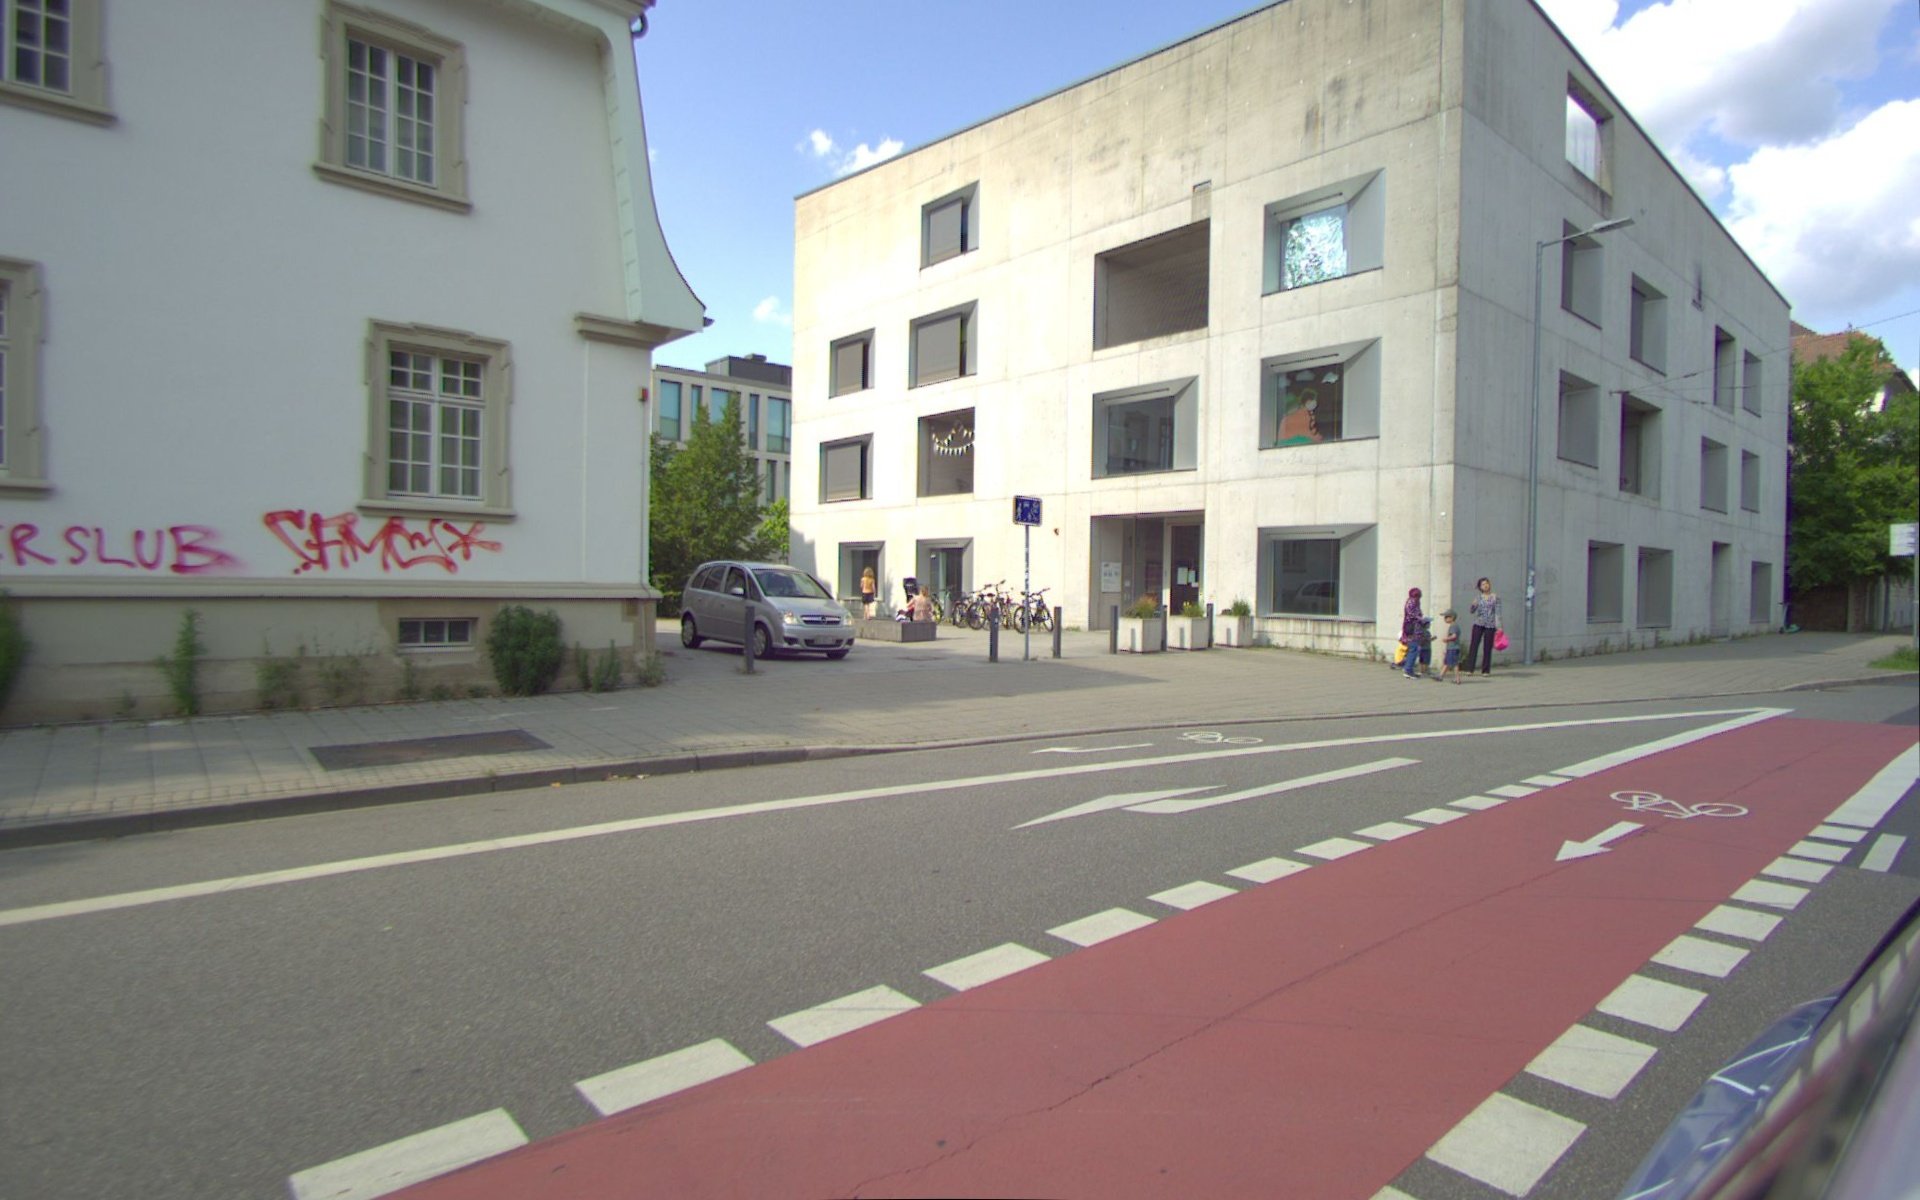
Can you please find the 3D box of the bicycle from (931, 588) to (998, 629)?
[{"bbox_3d":[0.120,0.217,26.841,0.699,1.030,1.790,3,2,45],"label":"bicycle"}]

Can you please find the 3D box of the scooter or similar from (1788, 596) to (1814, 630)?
[{"bbox_3d":[30.743,0.470,36.983,1.125,1.196,0.324,1,0,-29],"label":"scooter or similar"}]

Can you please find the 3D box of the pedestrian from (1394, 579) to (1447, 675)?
[{"bbox_3d":[7.915,0.453,17.407,0.537,1.600,0.522,3,0,-23],"label":"pedestrian"}]

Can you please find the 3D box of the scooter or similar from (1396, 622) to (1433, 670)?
[{"bbox_3d":[8.220,0.831,18.296,0.545,0.810,0.265,5,1,26],"label":"scooter or similar"}]

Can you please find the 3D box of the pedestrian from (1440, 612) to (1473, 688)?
[{"bbox_3d":[8.272,0.824,16.876,0.418,1.216,0.402,3,0,25],"label":"pedestrian"}]

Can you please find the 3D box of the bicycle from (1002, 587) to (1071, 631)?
[{"bbox_3d":[1.925,0.217,25.231,0.699,1.030,1.790,3,2,45],"label":"bicycle"}]

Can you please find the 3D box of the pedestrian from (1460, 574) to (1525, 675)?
[{"bbox_3d":[9.563,0.436,18.194,0.732,1.746,0.687,3,1,-33],"label":"pedestrian"}]

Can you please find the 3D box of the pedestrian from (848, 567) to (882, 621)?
[{"bbox_3d":[-2.145,-0.140,22.947,0.583,1.216,0.525,1,1,22],"label":"pedestrian"}]

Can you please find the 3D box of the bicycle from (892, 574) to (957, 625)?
[{"bbox_3d":[-0.985,-0.014,28.416,0.699,1.345,1.790,3,1,45],"label":"bicycle"}]

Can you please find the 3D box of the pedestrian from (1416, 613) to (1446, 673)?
[{"bbox_3d":[8.305,0.749,17.838,0.342,1.023,0.391,3,1,40],"label":"pedestrian"}]

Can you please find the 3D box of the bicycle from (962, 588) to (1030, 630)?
[{"bbox_3d":[0.941,0.227,26.128,0.699,1.030,1.790,3,2,45],"label":"bicycle"}]

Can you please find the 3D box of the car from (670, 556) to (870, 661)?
[{"bbox_3d":[-3.396,0.112,17.620,1.636,1.625,3.886,3,0,-41],"label":"car"}]

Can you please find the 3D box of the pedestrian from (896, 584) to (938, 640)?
[{"bbox_3d":[-0.967,0.257,22.702,0.857,1.216,0.912,1,1,-5],"label":"pedestrian"}]
